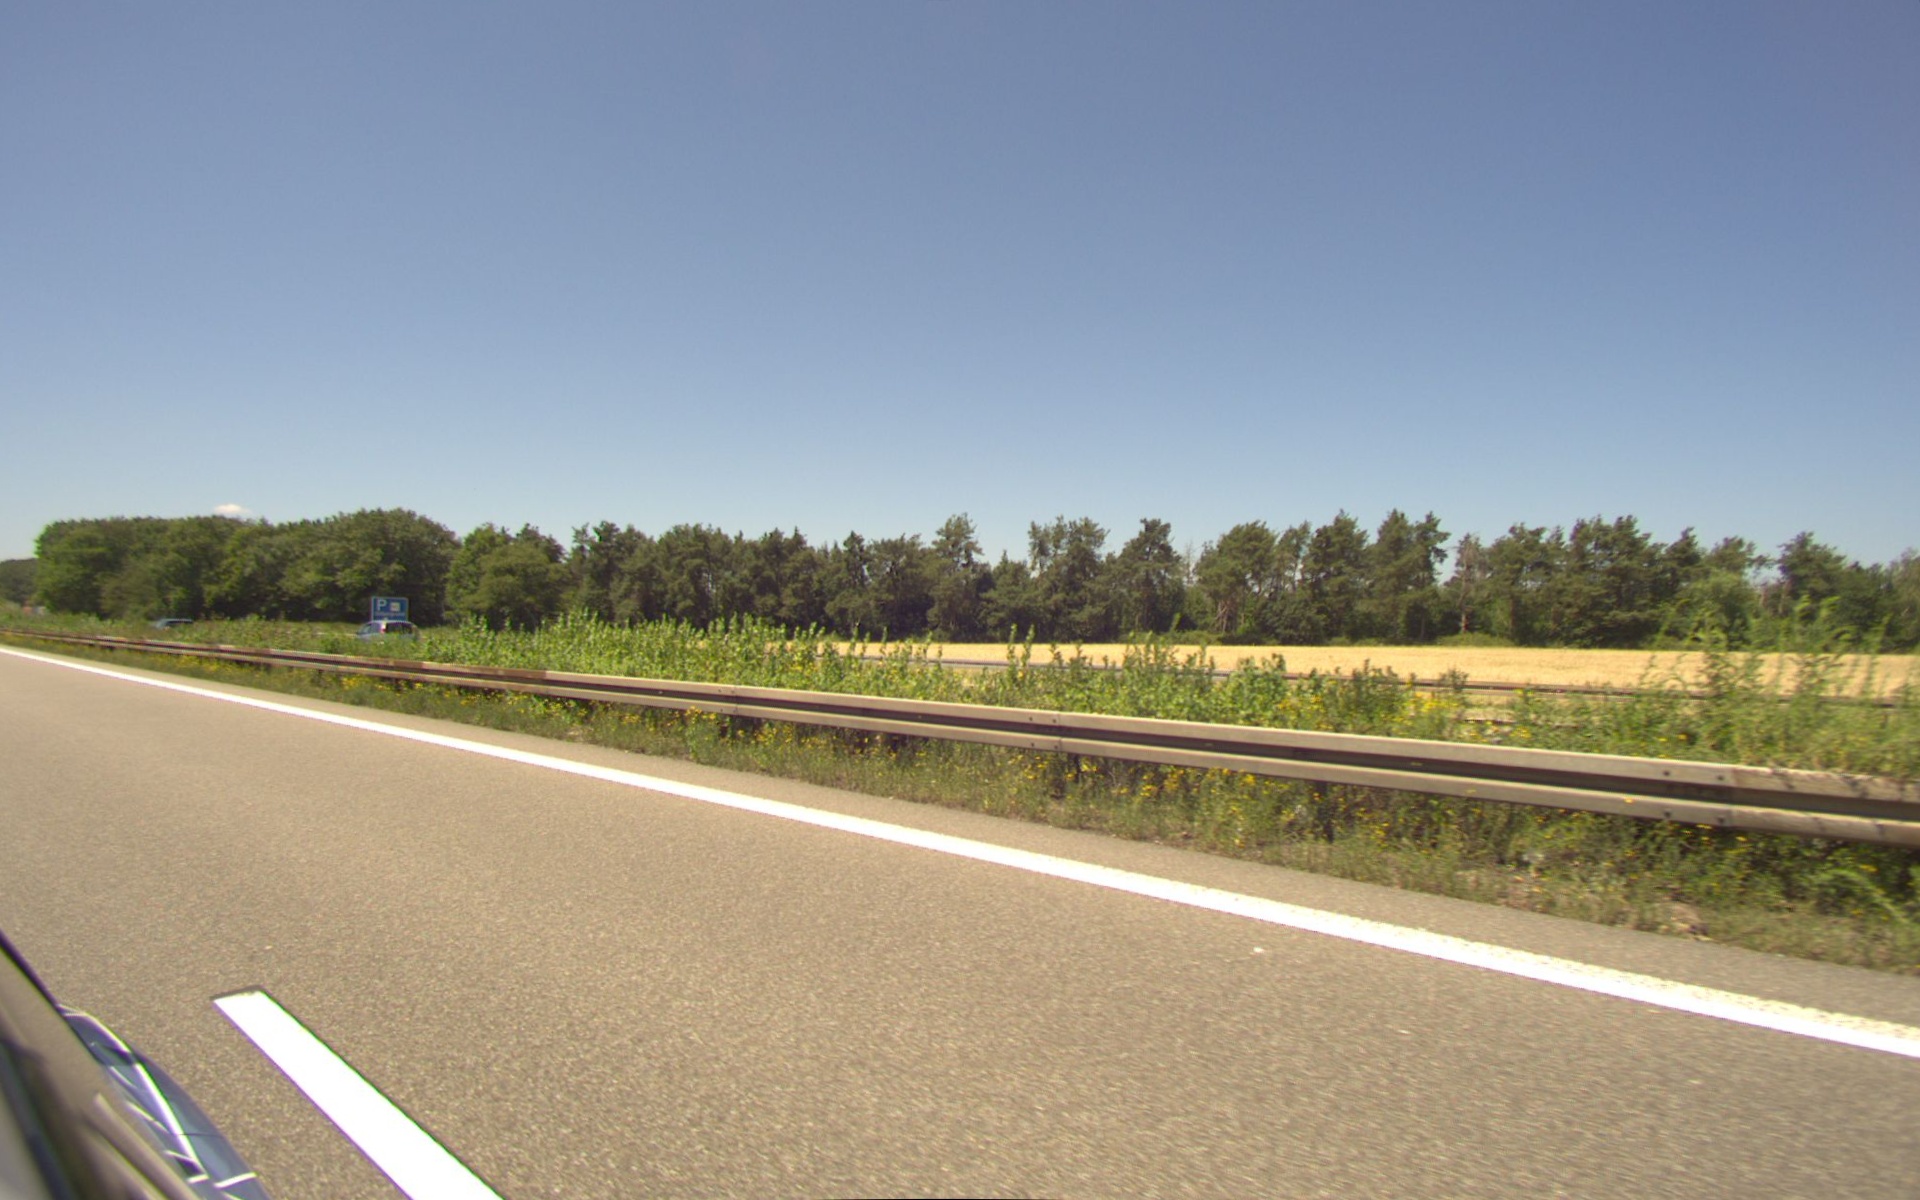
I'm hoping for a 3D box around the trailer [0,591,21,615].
[{"bbox_3d":[-159.390,0.567,168.398,14.377,3.726,3.146,-1,0,42],"label":"trailer"}]

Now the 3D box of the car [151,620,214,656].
[{"bbox_3d":[-40.217,1.948,52.331,3.999,1.792,1.855,-1,-2,42],"label":"car"}]

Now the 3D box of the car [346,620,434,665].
[{"bbox_3d":[-23.721,1.737,42.076,4.429,1.792,1.828,-1,-2,42],"label":"car"}]
